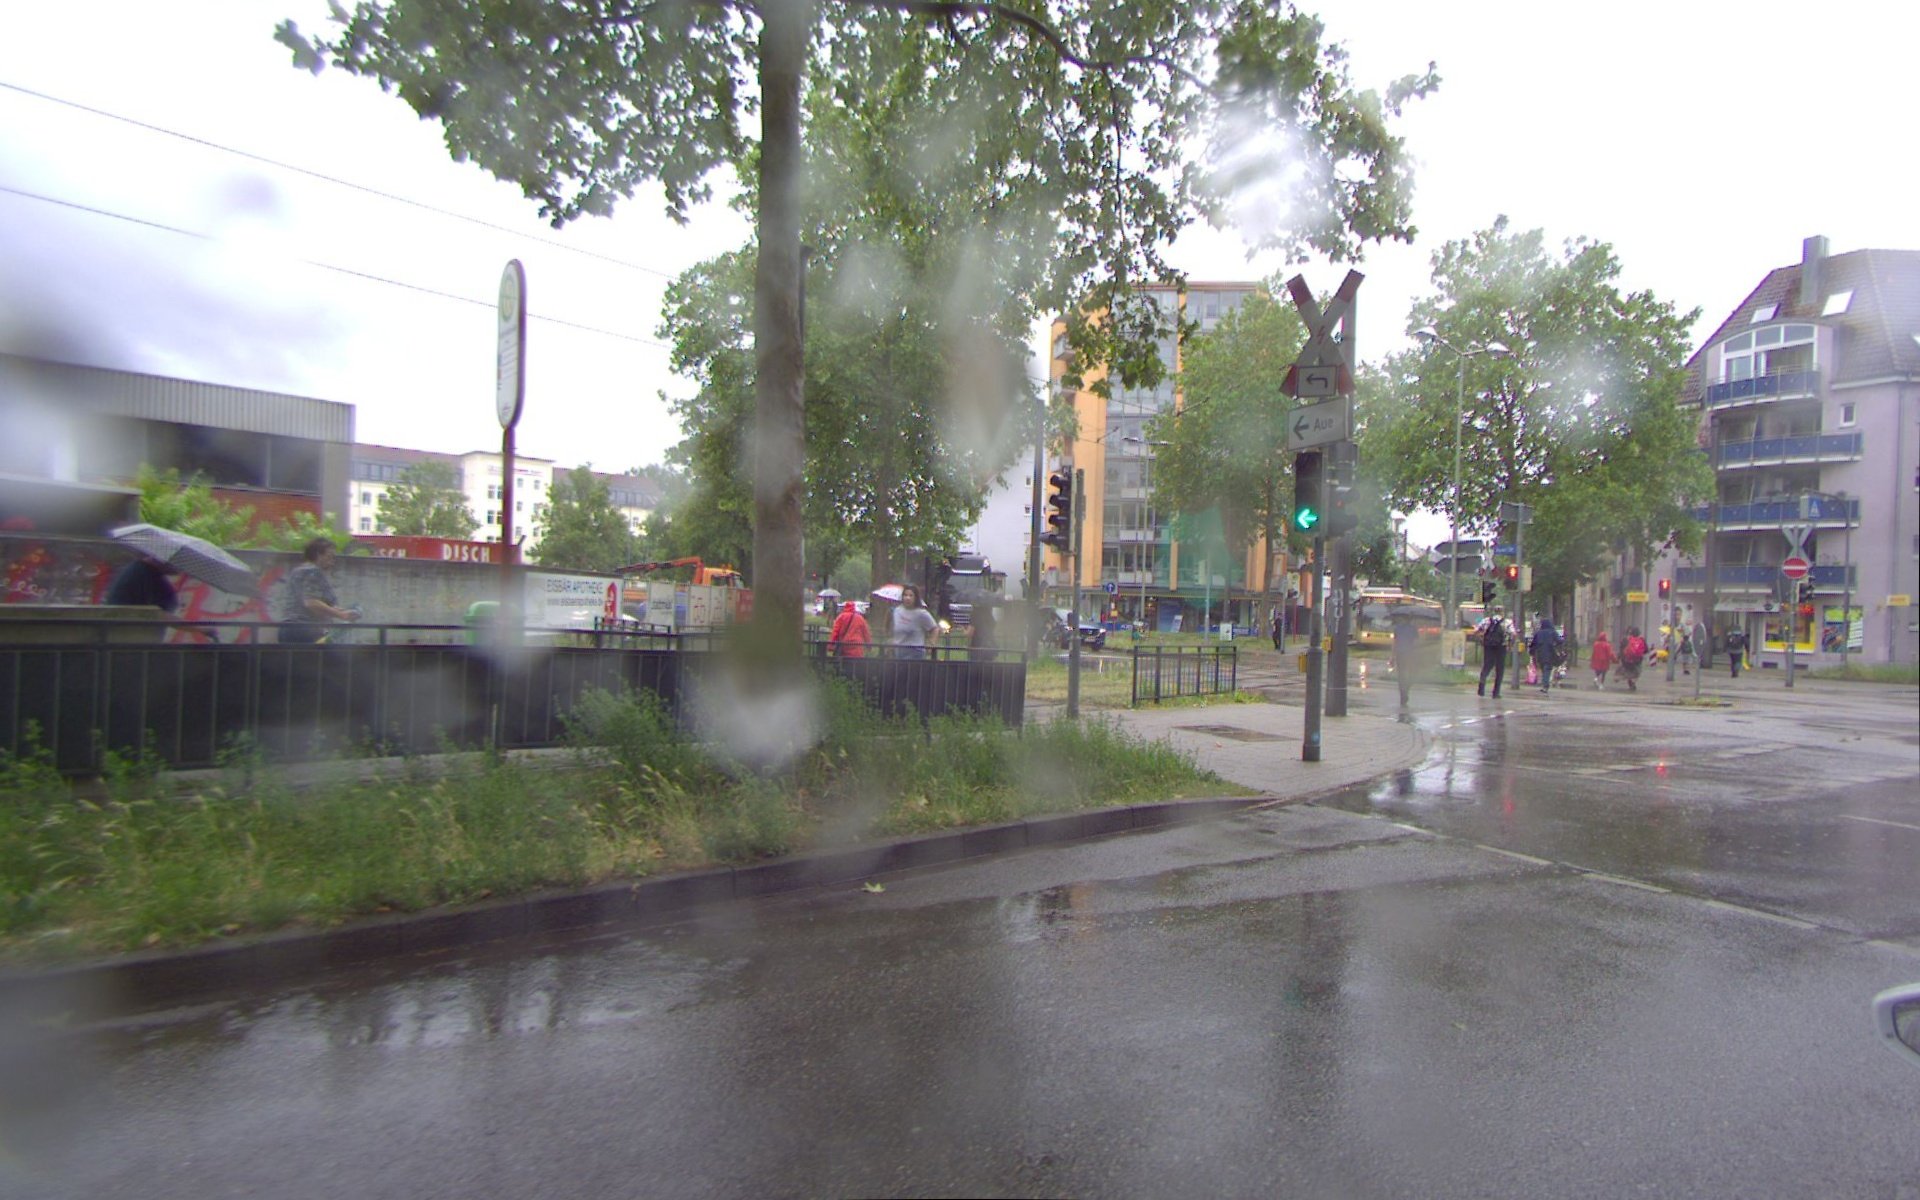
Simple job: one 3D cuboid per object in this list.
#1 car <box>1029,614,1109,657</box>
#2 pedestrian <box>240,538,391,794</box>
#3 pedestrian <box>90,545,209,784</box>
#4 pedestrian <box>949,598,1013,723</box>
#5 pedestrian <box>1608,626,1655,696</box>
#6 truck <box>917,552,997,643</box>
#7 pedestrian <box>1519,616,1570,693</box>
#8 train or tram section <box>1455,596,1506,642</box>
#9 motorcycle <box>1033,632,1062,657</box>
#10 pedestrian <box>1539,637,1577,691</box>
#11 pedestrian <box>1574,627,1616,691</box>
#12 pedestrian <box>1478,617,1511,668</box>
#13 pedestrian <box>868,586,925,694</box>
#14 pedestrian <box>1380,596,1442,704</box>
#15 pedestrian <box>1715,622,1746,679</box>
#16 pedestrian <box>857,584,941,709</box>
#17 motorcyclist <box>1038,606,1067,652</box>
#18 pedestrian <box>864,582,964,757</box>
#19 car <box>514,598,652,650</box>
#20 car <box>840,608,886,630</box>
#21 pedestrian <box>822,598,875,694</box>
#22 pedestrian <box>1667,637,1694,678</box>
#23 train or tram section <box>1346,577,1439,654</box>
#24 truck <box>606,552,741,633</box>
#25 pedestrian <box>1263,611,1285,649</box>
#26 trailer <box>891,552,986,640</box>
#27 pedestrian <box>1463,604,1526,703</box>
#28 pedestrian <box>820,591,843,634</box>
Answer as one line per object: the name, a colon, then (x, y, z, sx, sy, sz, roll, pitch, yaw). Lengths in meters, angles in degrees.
car: (4.295, 1.382, 40.189, 1.585, 1.551, 4.017, 1, 0, -19)
pedestrian: (-4.971, 0.472, 7.746, 0.838, 1.828, 0.818, 2, 0, -41)
pedestrian: (-5.231, 0.392, 6.478, 0.603, 1.446, 0.492, 2, 0, 44)
pedestrian: (0.304, 0.832, 14.107, 0.782, 1.705, 0.660, -1, 0, 8)
pedestrian: (16.339, 1.471, 24.429, 0.809, 1.646, 0.724, 0, 0, -37)
truck: (-0.209, -0.096, 45.781, 2.593, 3.842, 4.444, 2, 0, -13)
pedestrian: (13.279, 1.229, 22.826, 0.823, 1.721, 0.689, -1, 0, 17)
train or tram section: (45.706, 1.716, 87.940, 2.819, 3.592, 15.339, 2, 0, 31)
motorcycle: (3.235, 1.640, 37.269, 0.436, 0.853, 1.540, 2, -1, -20)
pedestrian: (15.638, 1.663, 26.269, 0.704, 1.367, 0.650, 2, 0, -44)
pedestrian: (15.763, 1.455, 24.952, 0.653, 1.540, 0.677, 2, 0, -37)
pedestrian: (19.348, 1.529, 36.347, 0.943, 1.789, 0.951, 2, 0, 31)
pedestrian: (-1.167, 0.720, 18.285, 0.769, 1.891, 0.936, 2, 0, -18)
pedestrian: (8.205, 0.889, 18.317, 0.854, 1.889, 0.892, 2, 0, 16)
pedestrian: (26.362, 1.716, 34.362, 0.777, 1.880, 0.679, 2, 0, 37)
pedestrian: (-0.919, 0.701, 15.504, 0.966, 1.851, 1.077, -1, -1, 15)
motorcyclist: (3.431, 1.072, 37.149, 0.768, 1.635, 0.772, 2, 0, -20)
pedestrian: (-0.477, 0.701, 10.563, 0.675, 1.752, 0.752, 2, 0, 42)
car: (-10.903, 0.678, 29.112, 3.447, 1.323, 1.405, 2, 0, 9)
car: (-8.782, 1.683, 90.644, 3.930, 1.808, 1.996, 2, -1, -12)
pedestrian: (-1.900, 0.770, 17.157, 0.782, 1.593, 0.659, -1, 0, 2)
pedestrian: (25.703, 2.032, 35.834, 0.638, 1.414, 0.782, 1, 0, 26)
train or tram section: (25.486, 0.999, 58.442, 2.839, 3.818, 17.212, 2, -1, 30)
truck: (-12.292, -0.283, 43.373, 5.384, 3.205, 2.164, 2, 0, -16)
pedestrian: (15.250, 1.456, 48.793, 0.941, 1.789, 0.953, 2, 0, 20)
trailer: (-1.305, -0.150, 50.472, 2.593, 3.899, 10.114, 2, -1, -13)
pedestrian: (10.109, 0.991, 19.001, 0.854, 1.778, 0.826, 2, 0, 41)
pedestrian: (-5.725, 0.548, 44.688, 0.765, 1.891, 0.940, 2, 0, 4)
